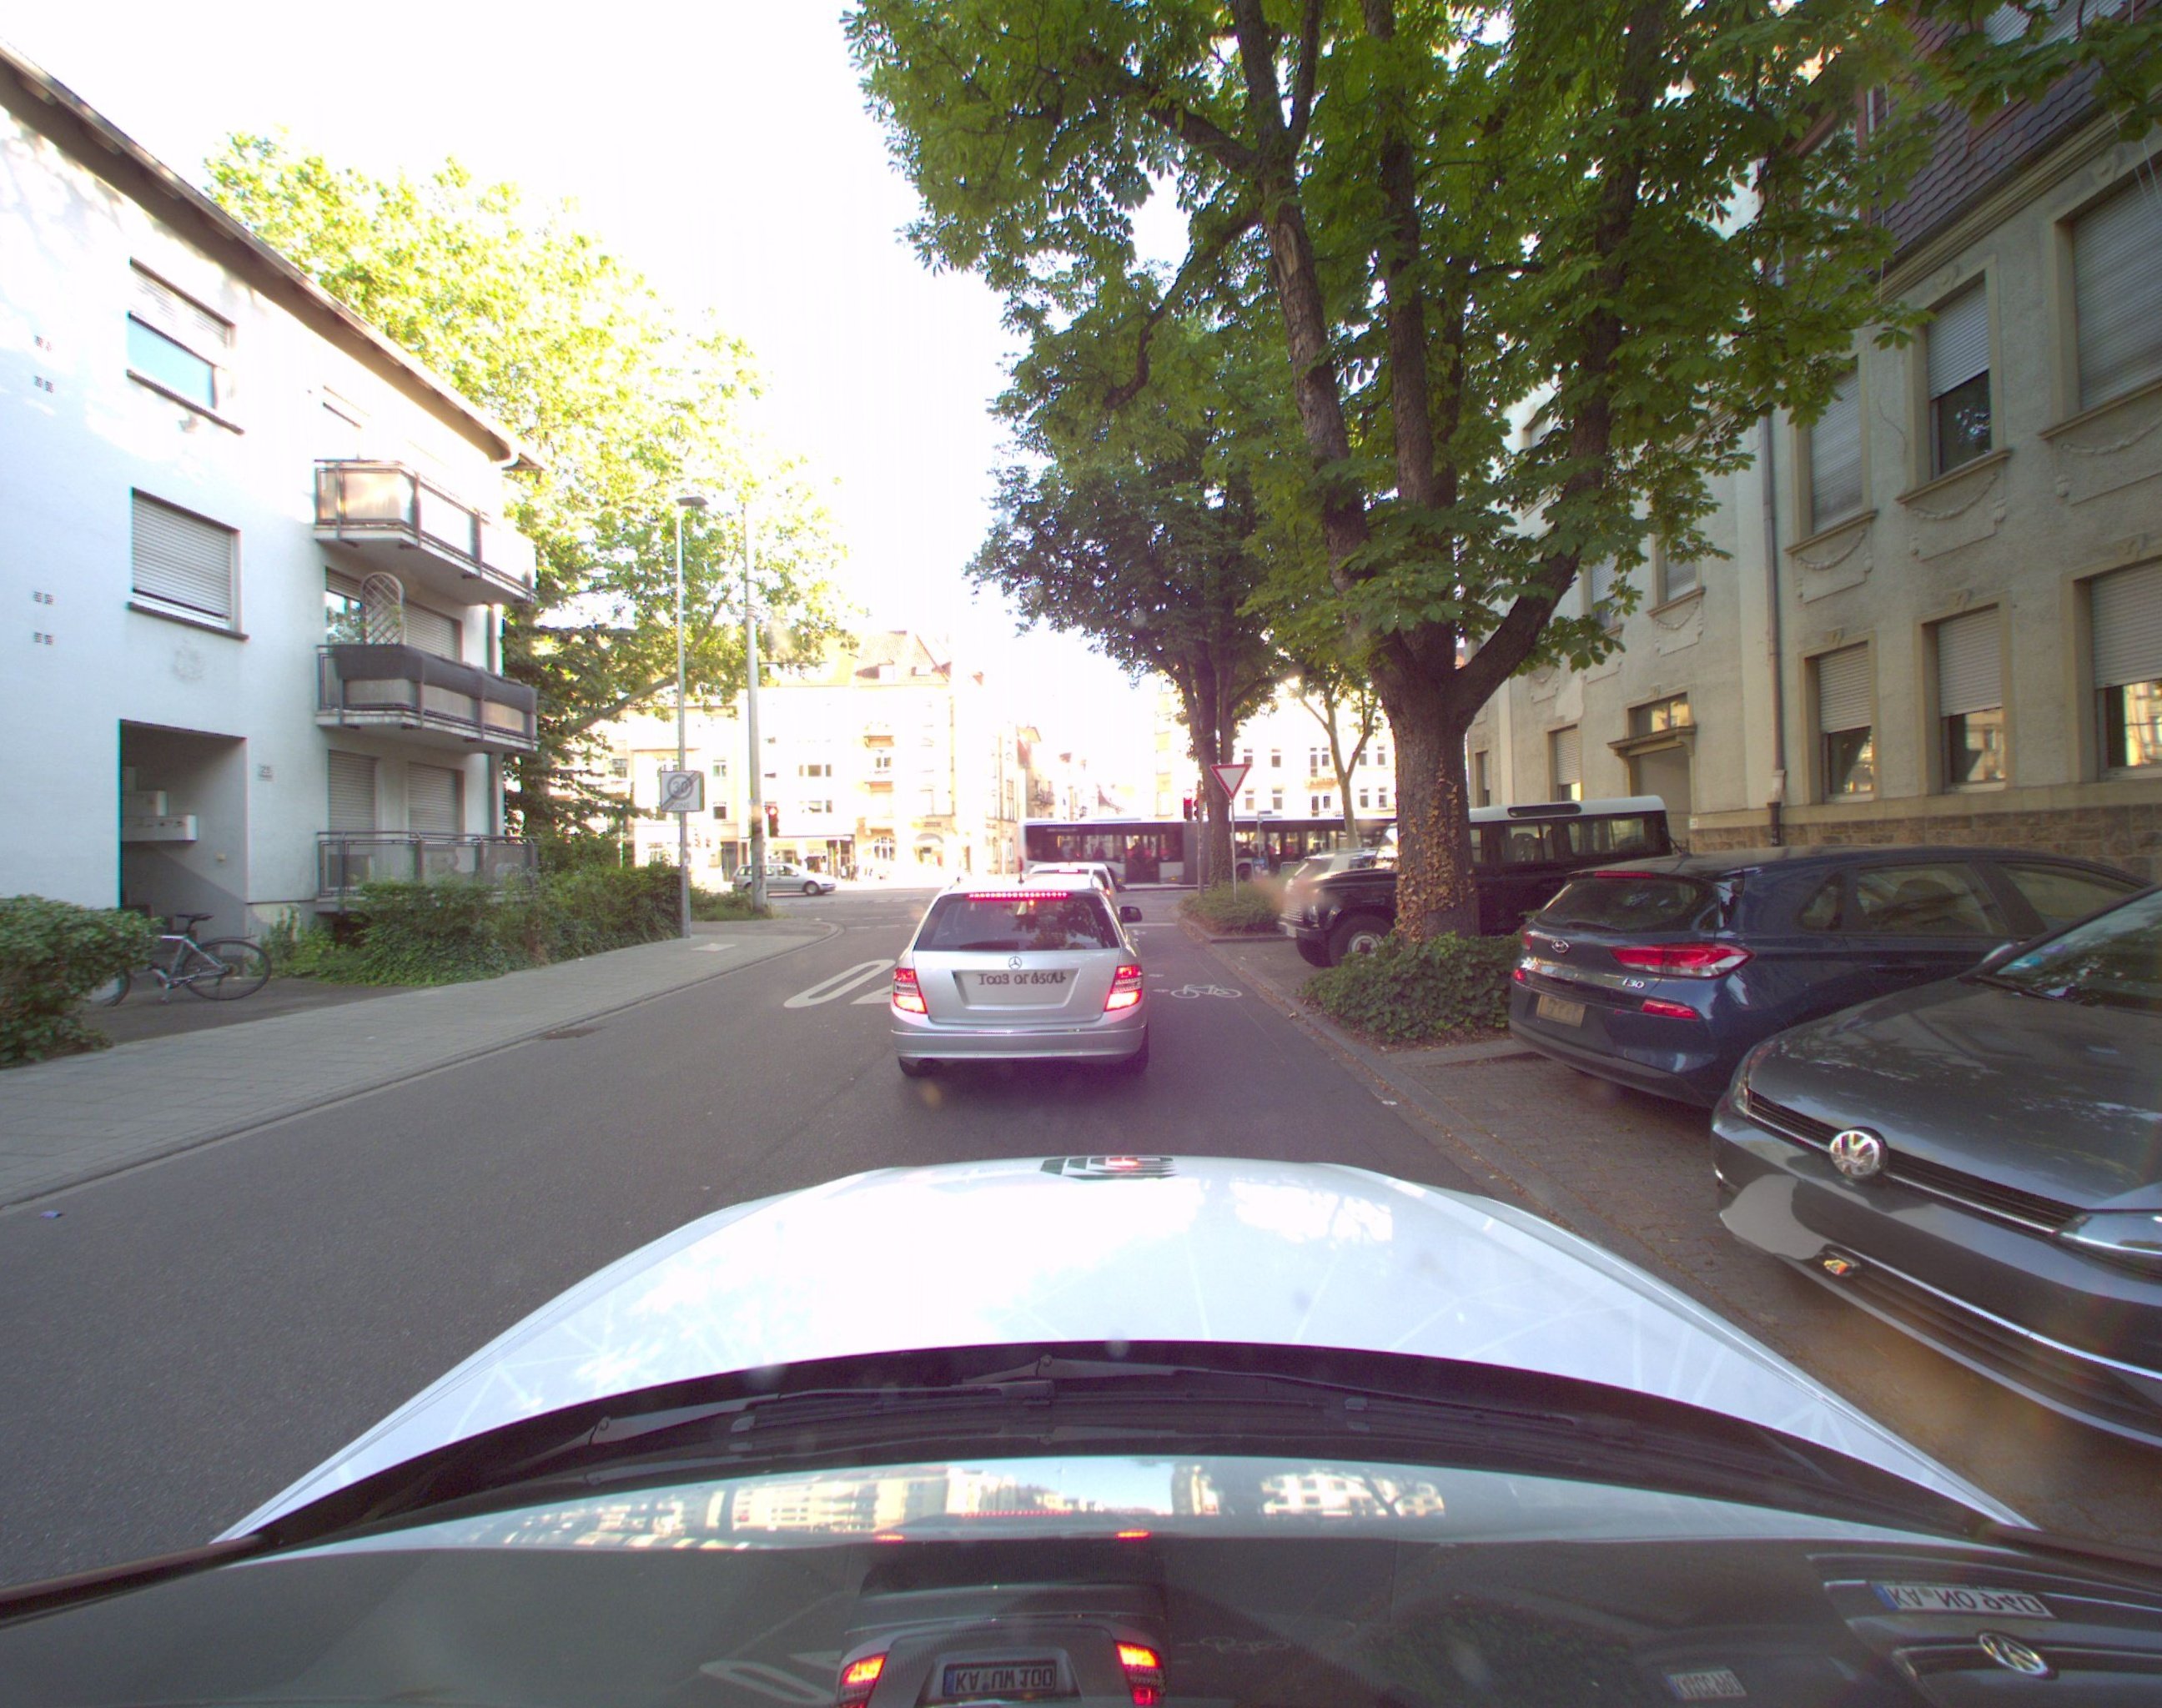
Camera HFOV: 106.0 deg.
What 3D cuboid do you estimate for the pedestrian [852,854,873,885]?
[{"bbox_3d":[-17.646,1.279,65.834,1.343,2.464,1.059,-1,0,-3],"label":"pedestrian"}]

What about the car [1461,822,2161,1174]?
[{"bbox_3d":[4.398,0.623,4.552,3.714,1.452,1.707,-3,-1,-2],"label":"car"}]

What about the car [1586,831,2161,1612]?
[{"bbox_3d":[4.033,0.640,2.380,4.042,1.452,1.722,-3,-1,-2],"label":"car"}]

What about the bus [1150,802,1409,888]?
[{"bbox_3d":[8.423,-0.405,35.053,10.440,3.201,2.905,-2,0,-7],"label":"bus"}]

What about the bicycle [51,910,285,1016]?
[{"bbox_3d":[-9.994,1.158,9.005,1.630,1.008,0.511,2,-2,-39],"label":"bicycle"}]

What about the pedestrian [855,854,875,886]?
[{"bbox_3d":[-17.089,1.254,64.437,1.343,2.464,1.059,-1,0,-3],"label":"pedestrian"}]

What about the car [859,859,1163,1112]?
[{"bbox_3d":[-0.402,0.788,7.080,1.771,1.452,4.547,-1,0,0],"label":"car"}]

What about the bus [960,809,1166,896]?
[{"bbox_3d":[-0.798,-0.092,33.965,8.166,3.201,2.905,-2,0,-7],"label":"bus"}]

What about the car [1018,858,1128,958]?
[{"bbox_3d":[-0.107,0.803,14.168,1.614,1.447,4.344,-1,0,0],"label":"car"}]

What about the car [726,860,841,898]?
[{"bbox_3d":[-12.809,1.057,35.297,4.338,1.497,1.658,-2,0,-5],"label":"car"}]

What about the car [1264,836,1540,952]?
[{"bbox_3d":[5.031,0.605,13.085,3.714,1.570,1.707,-3,-1,-2],"label":"car"}]

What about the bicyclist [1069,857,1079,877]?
[{"bbox_3d":[-0.514,0.944,58.309,0.642,1.426,0.636,-1,0,-3],"label":"bicyclist"}]

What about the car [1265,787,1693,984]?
[{"bbox_3d":[4.741,0.355,10.125,4.453,2.036,1.700,-3,-1,-2],"label":"car"}]
